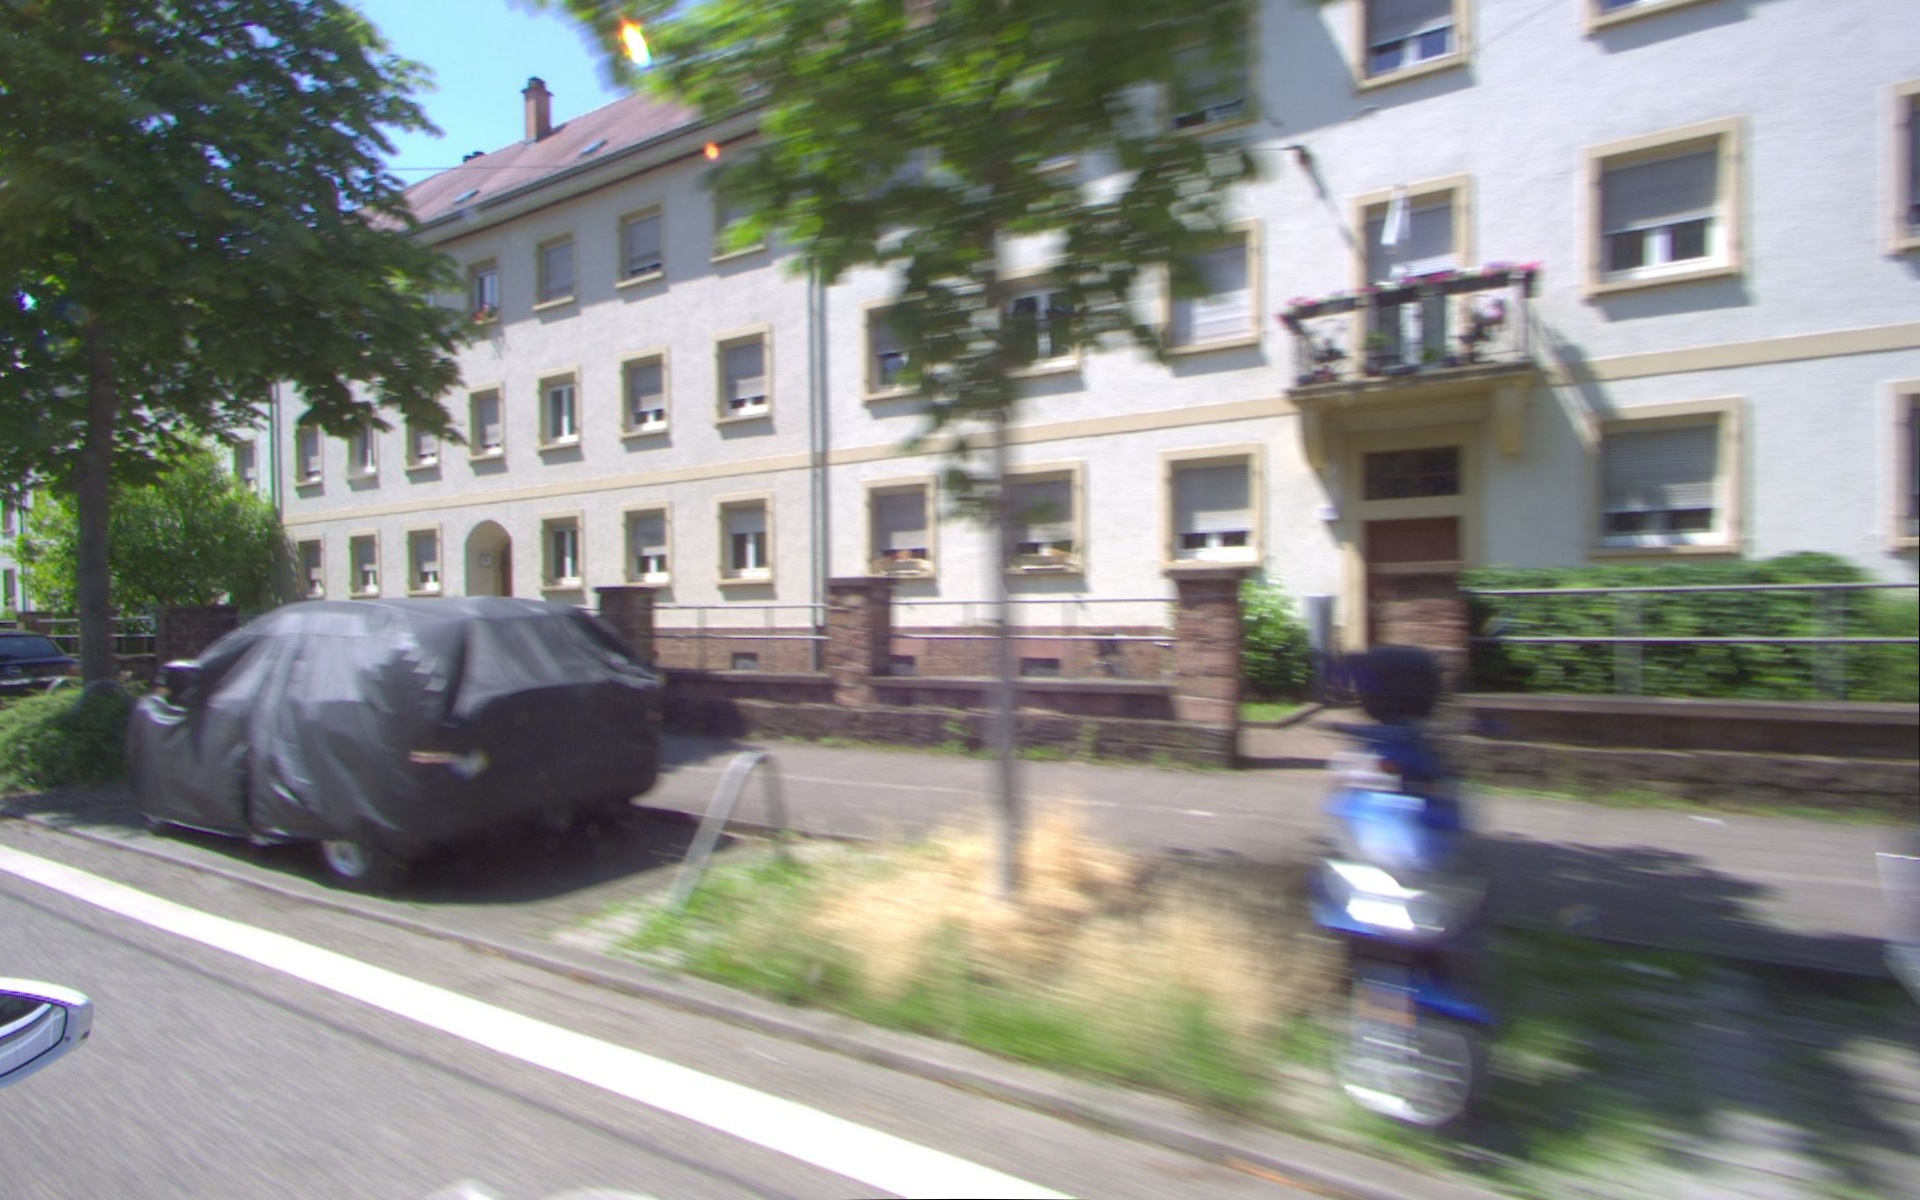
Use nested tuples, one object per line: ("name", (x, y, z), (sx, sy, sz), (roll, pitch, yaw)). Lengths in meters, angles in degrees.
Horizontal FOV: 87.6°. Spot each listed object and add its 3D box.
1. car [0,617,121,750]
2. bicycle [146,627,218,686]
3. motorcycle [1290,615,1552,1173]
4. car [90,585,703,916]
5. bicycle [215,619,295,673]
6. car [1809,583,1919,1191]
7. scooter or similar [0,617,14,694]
("car", (-12.553, 0.967, 12.545), (4.290, 1.438, 1.692), (0, 1, 29))
("bicycle", (-15.405, 1.100, 19.814), (1.896, 1.092, 0.477), (0, 1, 31))
("motorcycle", (1.626, 0.802, 3.678), (0.660, 1.452, 1.914), (0, 1, 22))
("car", (-4.238, 0.751, 7.235), (4.813, 1.673, 1.941), (0, 1, 35))
("bicycle", (-14.727, 0.942, 20.909), (1.893, 1.092, 0.478), (0, 1, 26))
("car", (4.507, 0.740, 1.702), (4.386, 1.573, 1.730), (0, 1, 30))
("scooter or similar", (-16.035, 0.952, 16.421), (0.374, 1.230, 1.241), (-1, 6, -28))
